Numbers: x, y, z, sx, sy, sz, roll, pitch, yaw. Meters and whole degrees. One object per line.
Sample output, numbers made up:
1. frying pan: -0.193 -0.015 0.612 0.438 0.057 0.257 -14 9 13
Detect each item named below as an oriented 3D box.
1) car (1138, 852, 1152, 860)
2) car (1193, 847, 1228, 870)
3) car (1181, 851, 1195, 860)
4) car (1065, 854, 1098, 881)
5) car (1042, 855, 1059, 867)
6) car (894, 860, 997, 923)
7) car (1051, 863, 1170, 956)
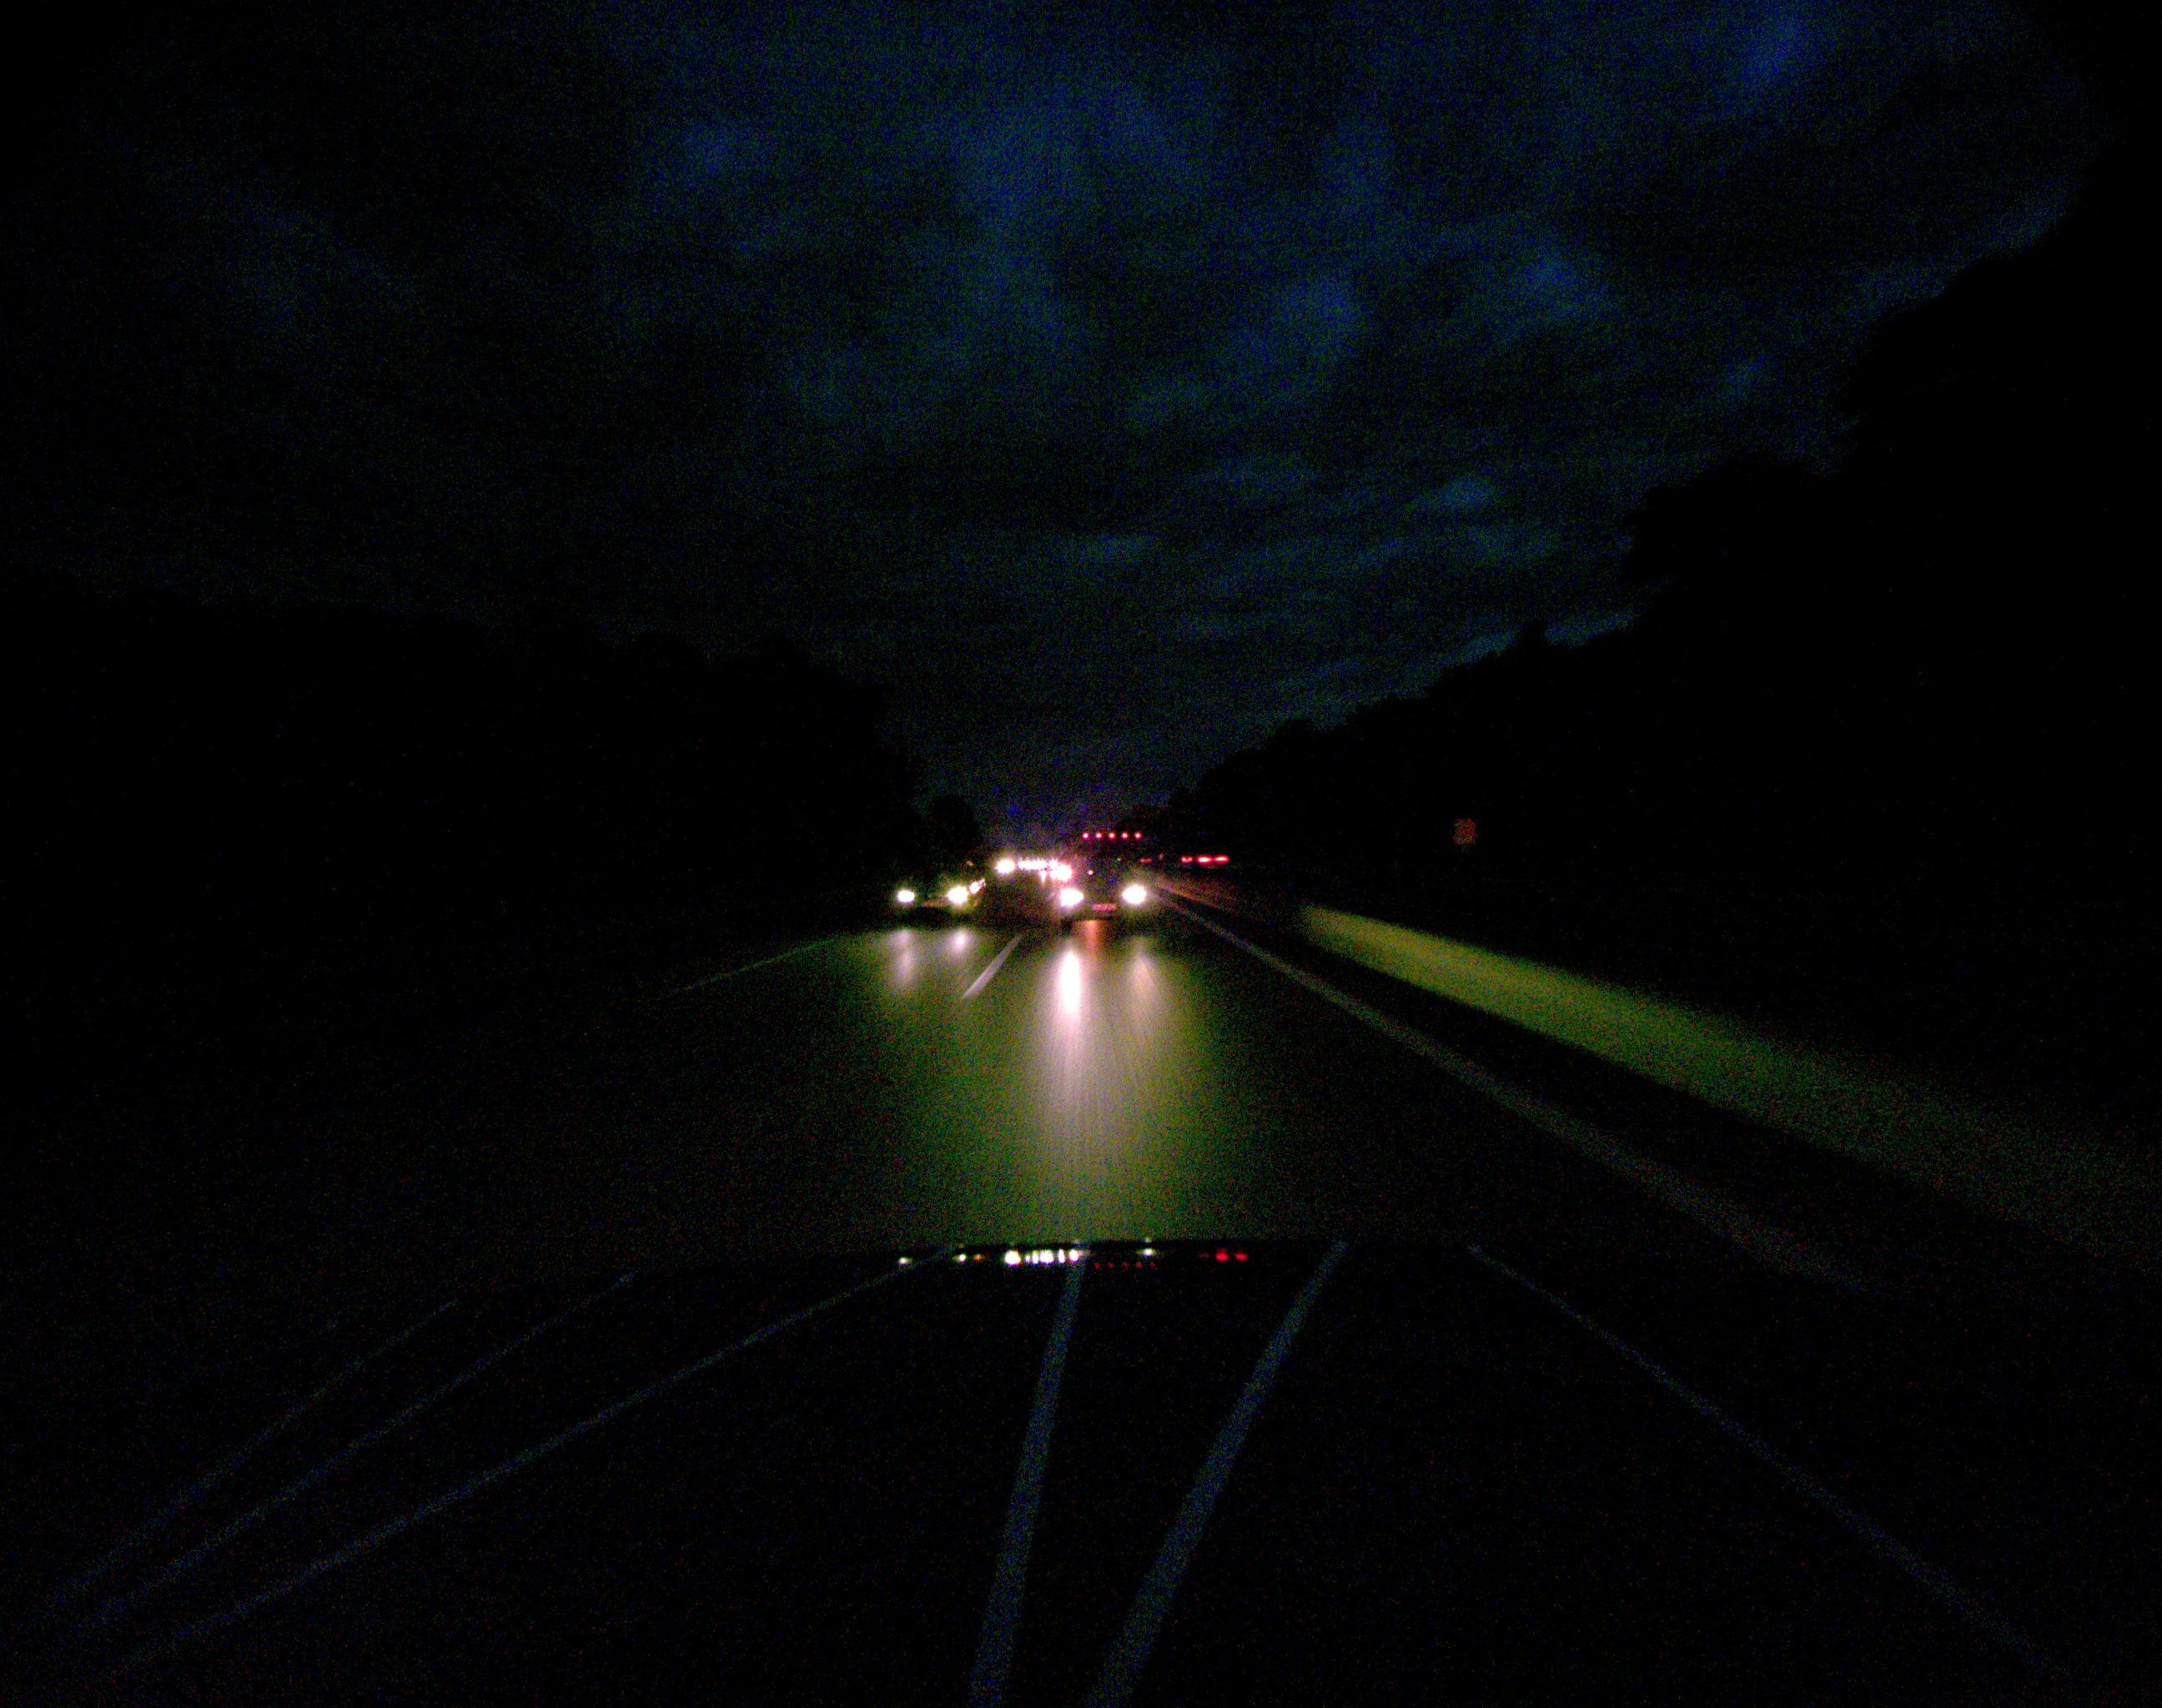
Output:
1. car: 12.677 0.419 150.512 1.848 1.454 4.773 -3 -1 -6
2. car: 9.826 0.314 57.869 1.998 1.629 5.112 -2 0 3
3. car: 20.295 0.320 144.362 1.847 1.454 4.000 -3 0 -2
4. car: 0.106 0.760 45.289 1.813 1.457 5.132 -2 0 1
5. car: -4.055 0.949 99.647 1.999 1.539 3.999 -1 -1 -5
6. car: -3.732 0.974 21.927 1.914 1.528 5.231 -1 0 1
7. car: 0.519 0.923 14.433 1.879 1.435 4.451 -1 0 1
